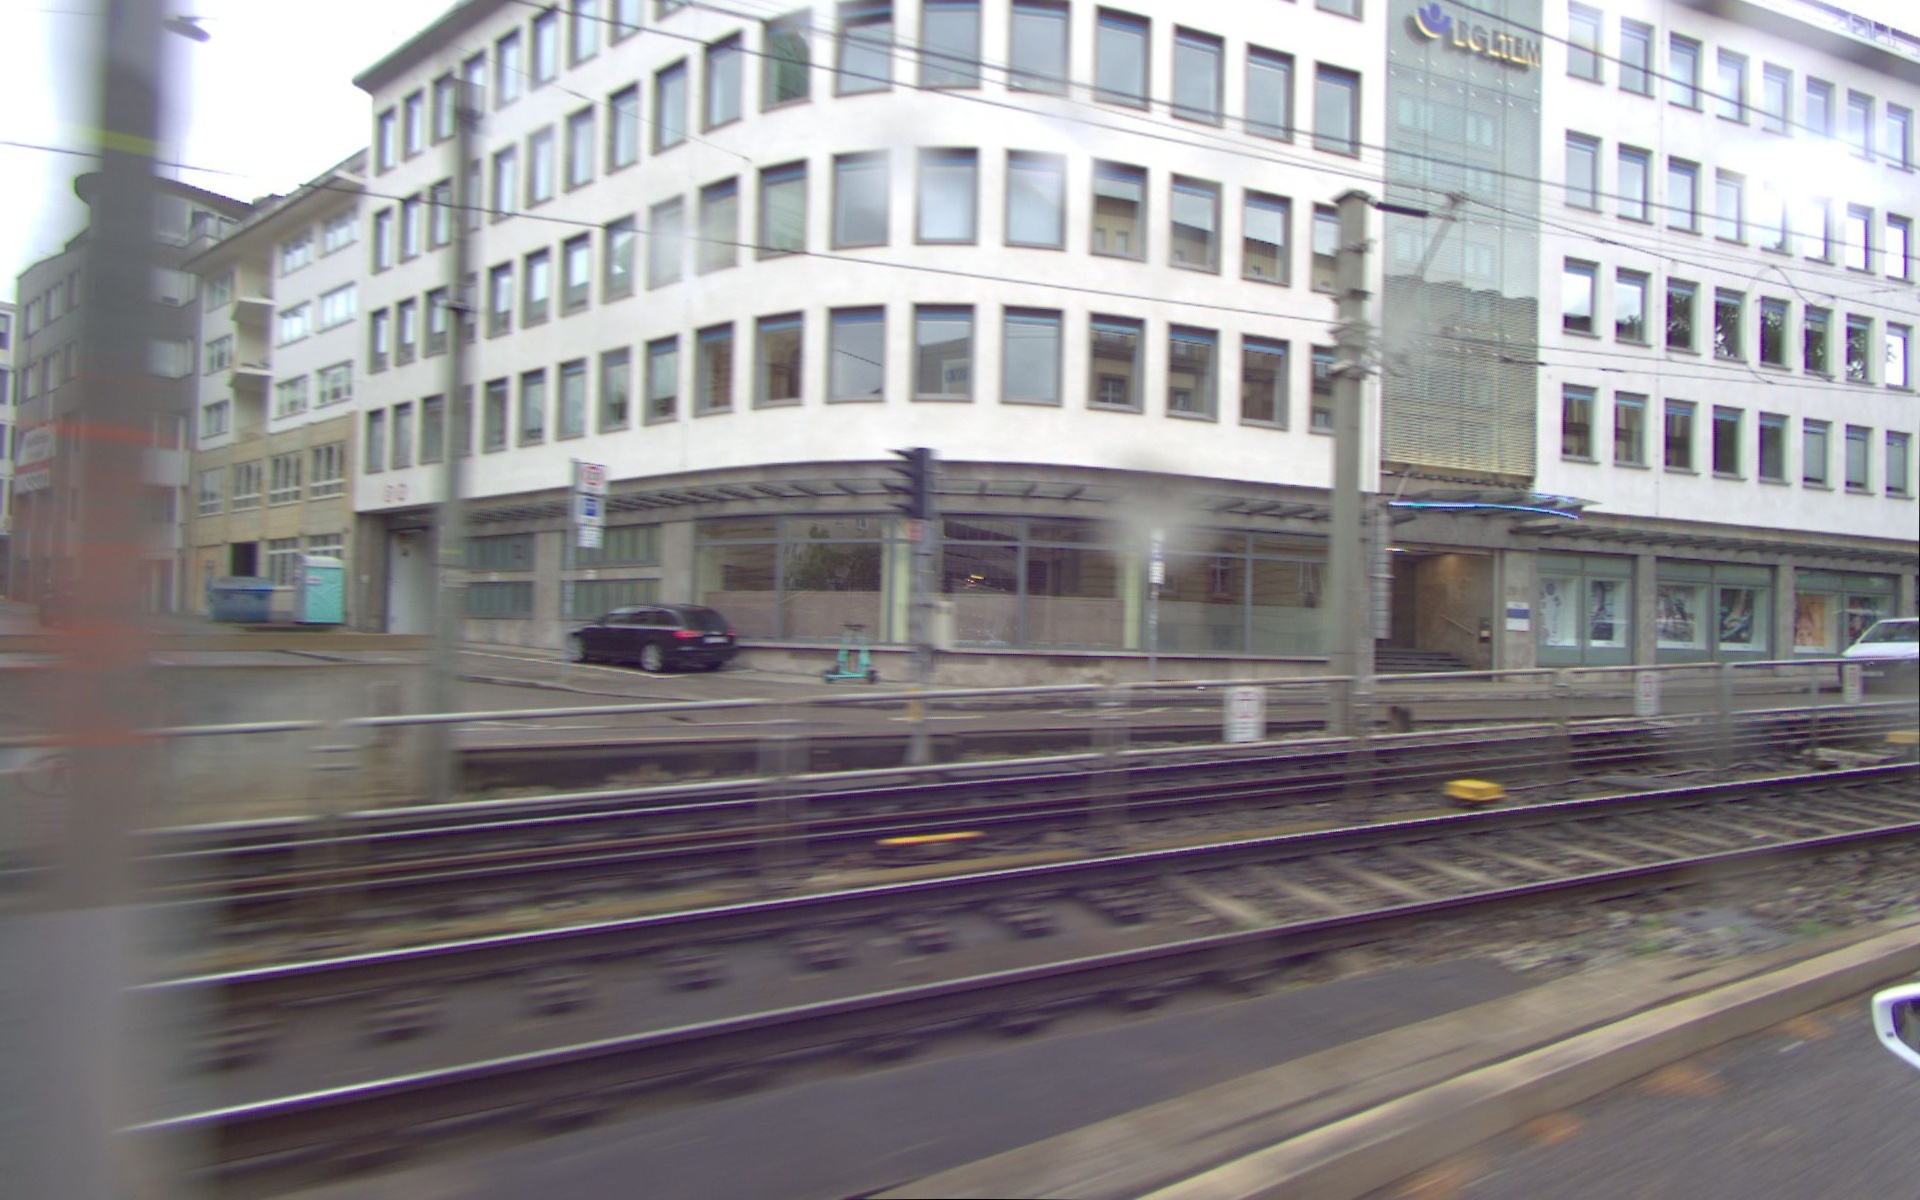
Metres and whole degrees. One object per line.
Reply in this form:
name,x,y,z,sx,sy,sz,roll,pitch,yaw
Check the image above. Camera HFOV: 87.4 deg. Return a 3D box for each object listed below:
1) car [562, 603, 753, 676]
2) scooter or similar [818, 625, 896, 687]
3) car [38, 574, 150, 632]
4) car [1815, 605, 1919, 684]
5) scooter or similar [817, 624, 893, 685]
car,-6.910,0.841,22.828,4.252,1.417,1.781,2,0,32
scooter or similar,-2.114,1.150,20.665,1.530,1.216,0.411,2,0,-3
car,-26.883,0.075,31.147,3.939,1.662,1.991,2,0,40
car,24.661,1.135,25.736,5.055,1.867,1.990,2,0,-21
scooter or similar,-2.214,1.150,21.248,1.529,1.216,0.411,2,0,4
